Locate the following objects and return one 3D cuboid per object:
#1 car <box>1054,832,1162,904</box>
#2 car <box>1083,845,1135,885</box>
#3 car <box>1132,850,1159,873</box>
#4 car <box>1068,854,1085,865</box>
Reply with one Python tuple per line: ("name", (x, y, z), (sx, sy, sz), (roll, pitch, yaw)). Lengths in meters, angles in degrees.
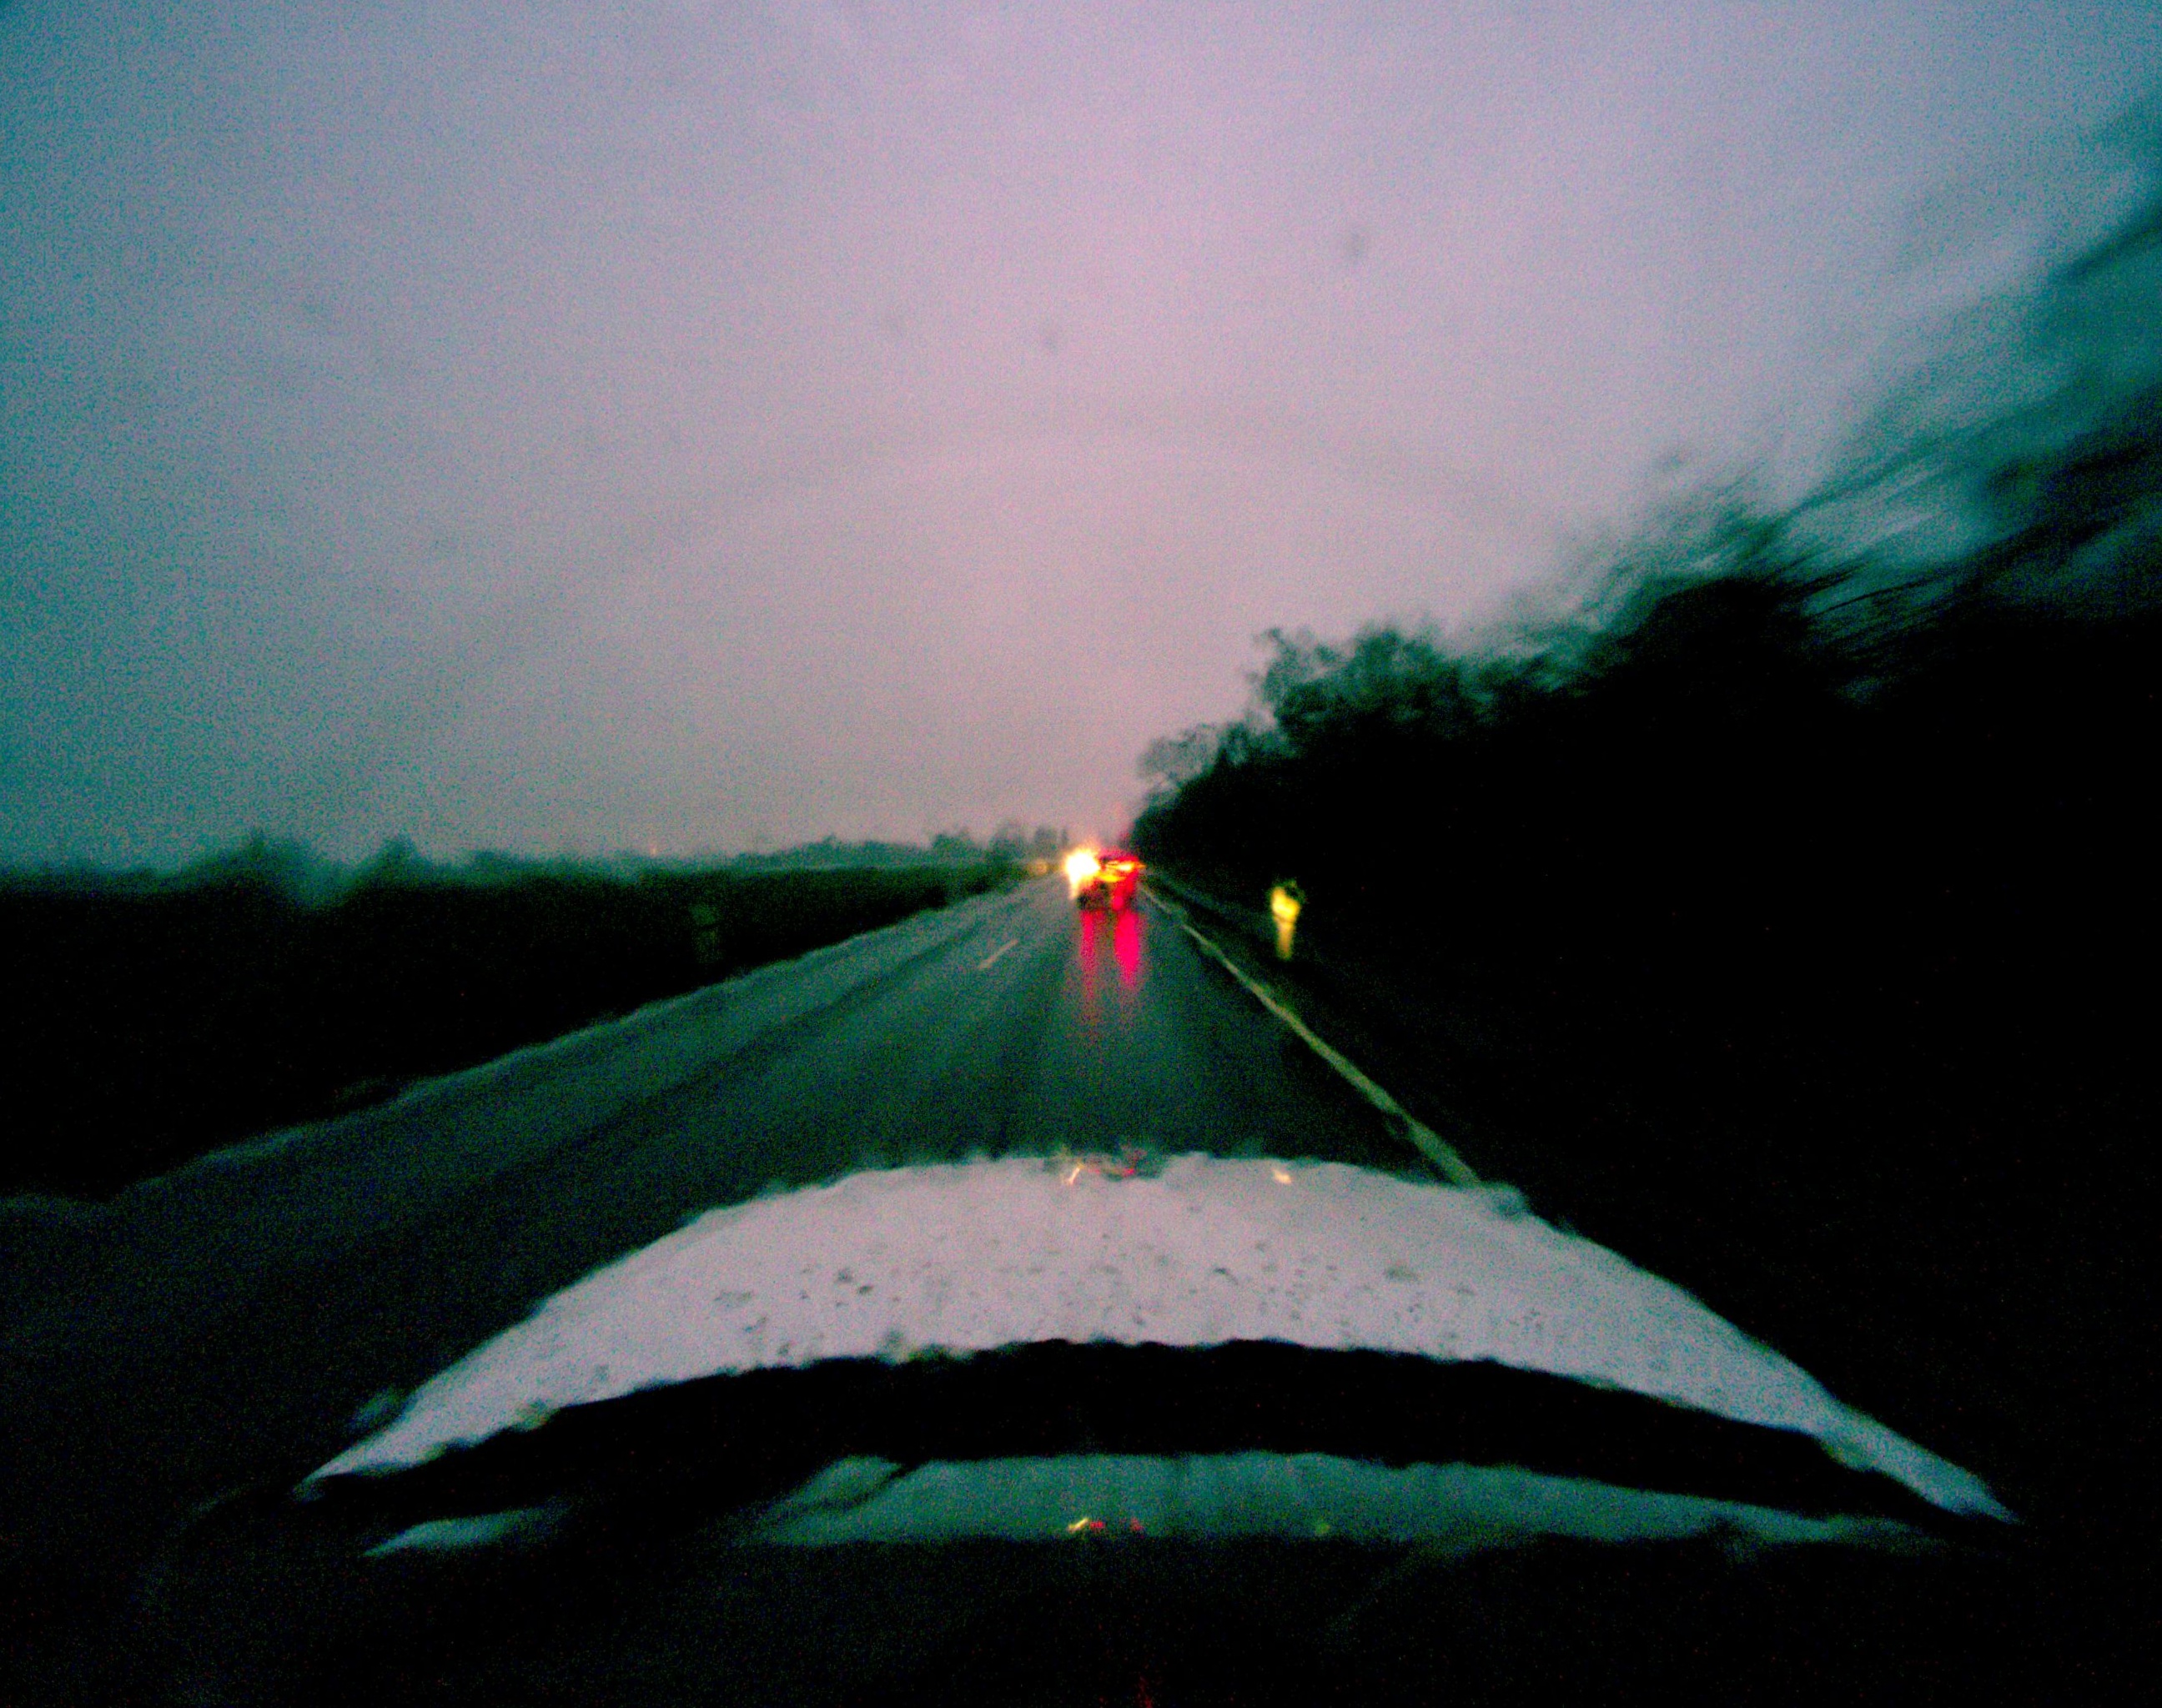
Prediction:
("car", (0.921, 0.418, 27.761), (3.153, 2.035, 6.854), (-2, 0, 2))
("car", (1.631, 0.589, 47.364), (2.745, 2.035, 6.593), (-2, 0, 2))
("car", (5.051, 0.576, 63.886), (1.921, 1.750, 4.001), (0, -1, 1))
("car", (-0.573, 0.694, 107.943), (1.986, 1.372, 4.399), (0, -1, 1))
